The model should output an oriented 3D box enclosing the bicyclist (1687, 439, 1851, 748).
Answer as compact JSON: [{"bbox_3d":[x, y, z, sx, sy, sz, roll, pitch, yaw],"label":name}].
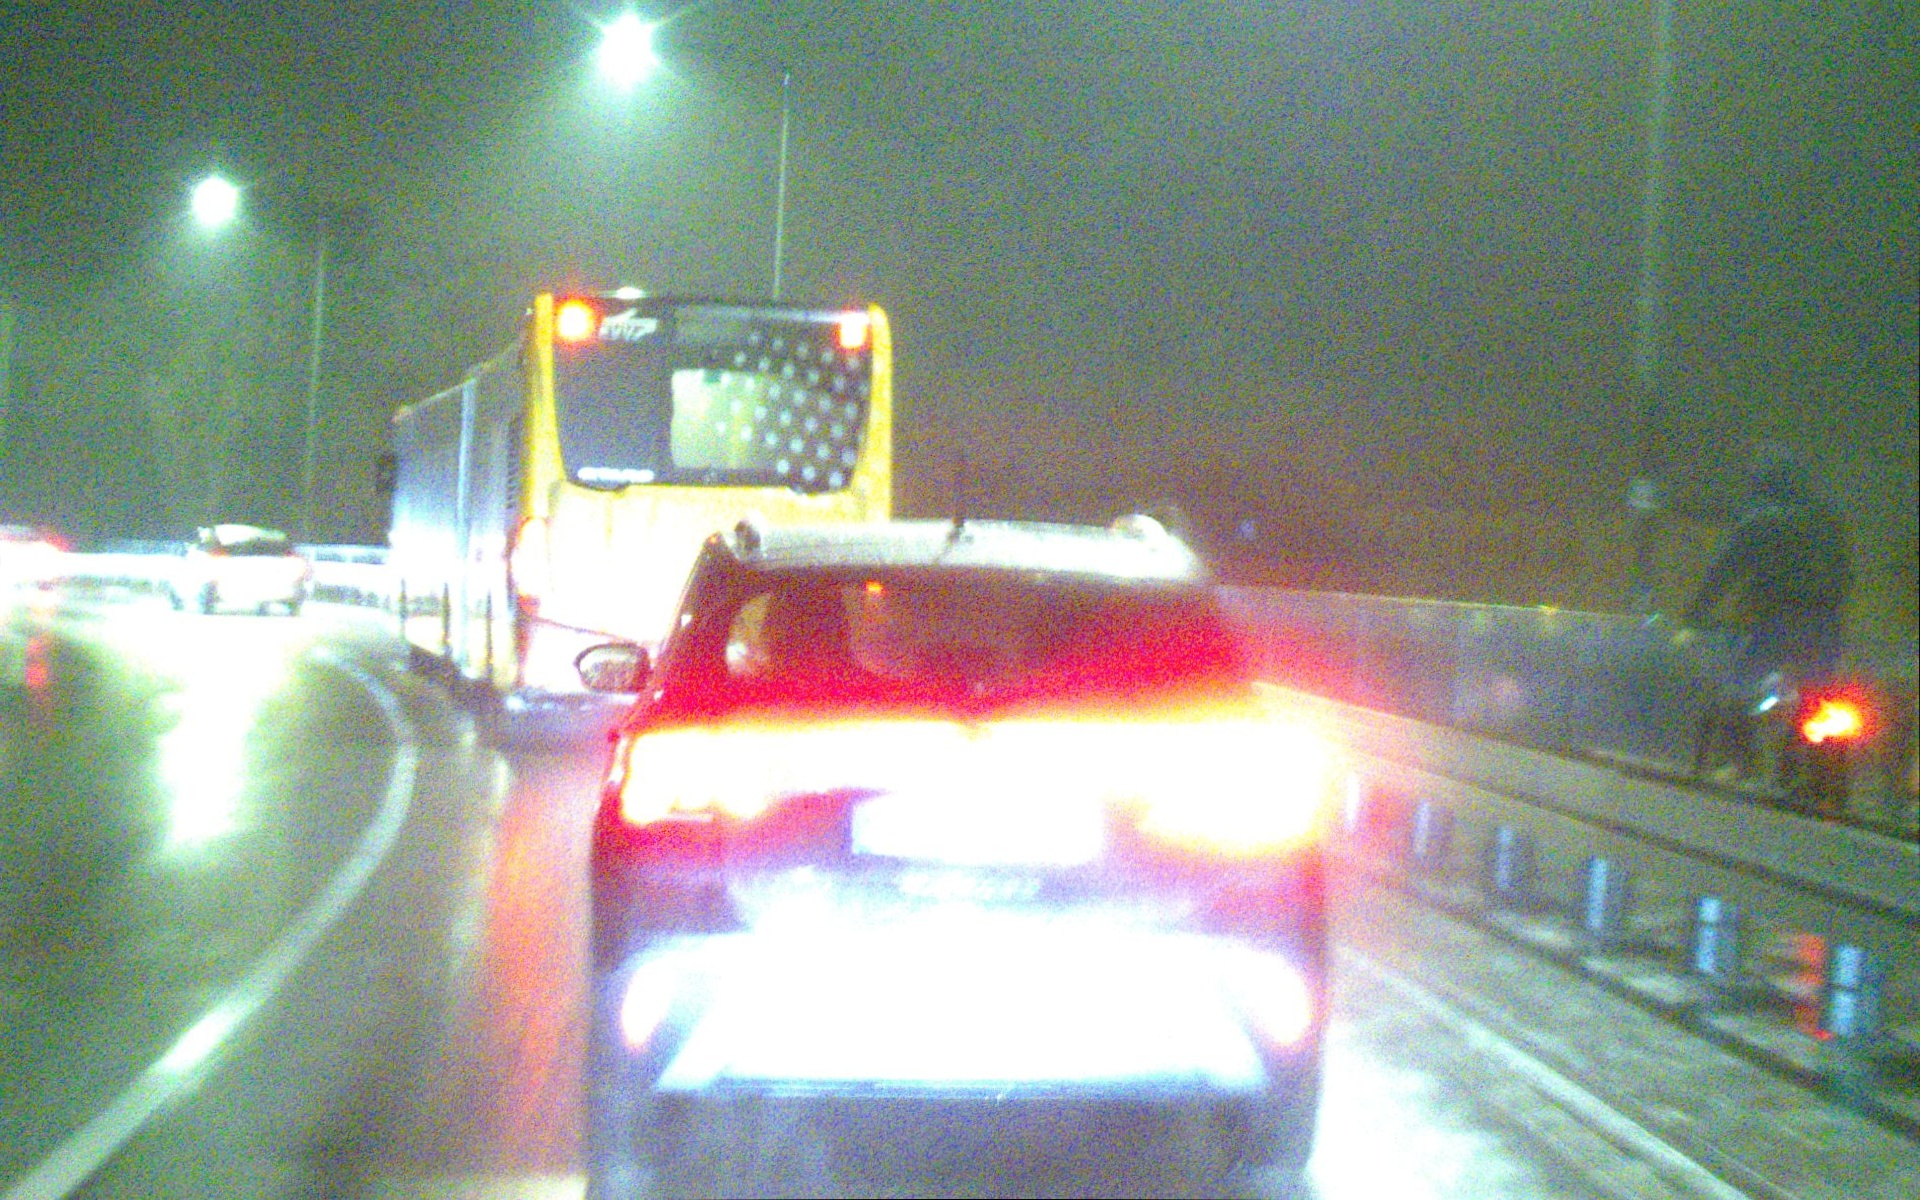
[{"bbox_3d":[3.631,-0.035,15.467,0.452,1.345,0.764,2,1,-6],"label":"bicyclist"}]

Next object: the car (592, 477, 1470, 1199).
[{"bbox_3d":[0.062,0.521,9.351,1.855,1.581,4.000,1,1,-3],"label":"car"}]

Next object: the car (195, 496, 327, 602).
[{"bbox_3d":[-12.082,-0.846,59.298,1.635,1.650,3.710,0,-2,-21],"label":"car"}]

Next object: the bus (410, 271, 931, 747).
[{"bbox_3d":[-2.903,-0.748,29.058,3.082,3.122,12.701,0,1,-11],"label":"bus"}]

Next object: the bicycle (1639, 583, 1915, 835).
[{"bbox_3d":[3.635,0.453,15.468,0.484,1.031,2.172,1,1,-6],"label":"bicycle"}]

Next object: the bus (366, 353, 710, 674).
[{"bbox_3d":[-5.005,-0.922,39.283,3.048,3.121,8.081,3,0,-12],"label":"bus"}]
